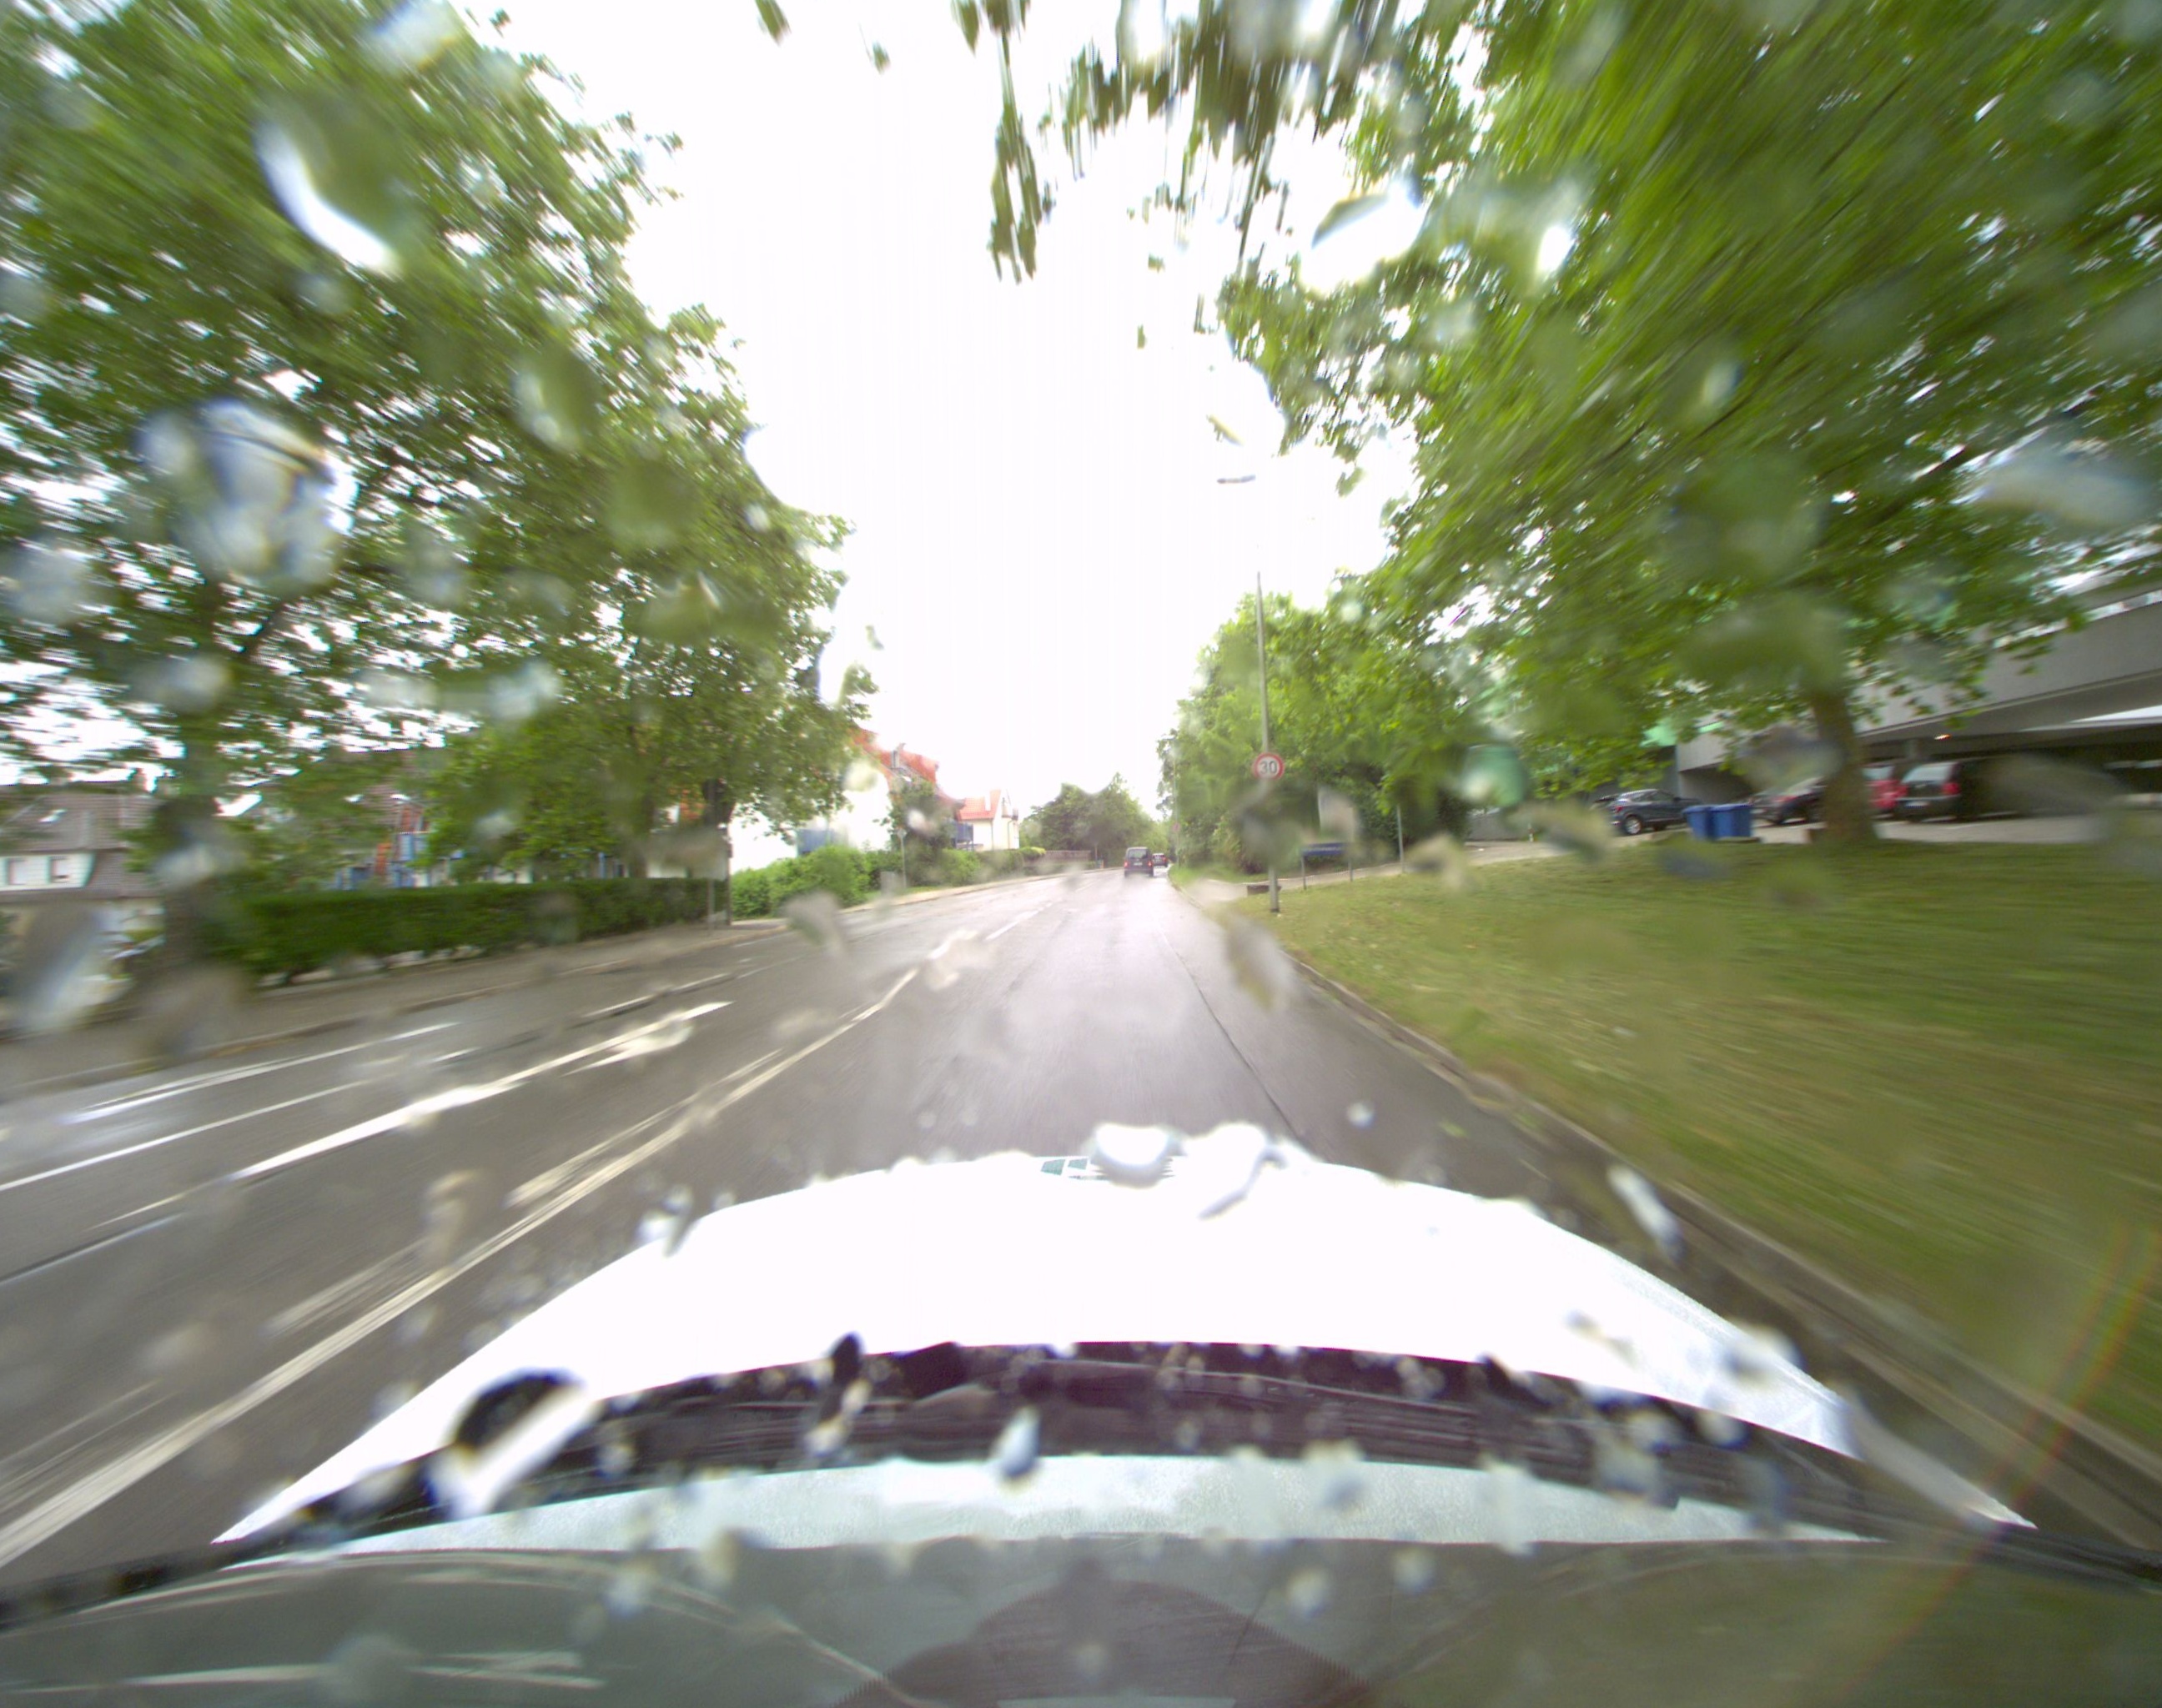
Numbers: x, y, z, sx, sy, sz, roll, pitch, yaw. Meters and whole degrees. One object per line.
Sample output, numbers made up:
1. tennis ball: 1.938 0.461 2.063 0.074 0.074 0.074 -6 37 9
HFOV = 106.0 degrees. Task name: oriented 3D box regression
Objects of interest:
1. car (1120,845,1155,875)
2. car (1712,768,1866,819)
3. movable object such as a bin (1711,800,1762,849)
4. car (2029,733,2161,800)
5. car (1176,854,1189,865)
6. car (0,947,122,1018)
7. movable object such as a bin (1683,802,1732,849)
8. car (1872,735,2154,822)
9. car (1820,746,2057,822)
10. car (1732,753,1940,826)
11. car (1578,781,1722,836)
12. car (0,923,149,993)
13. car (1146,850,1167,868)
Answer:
1. car: 3.475 0.363 50.765 1.986 1.794 4.002 0 0 2
2. car: 26.777 -2.270 30.932 3.963 1.574 1.940 -3 0 9
3. movable object such as a bin: 15.220 -0.679 18.923 0.666 1.120 0.662 0 -1 -2
4. car: 37.485 -3.195 29.298 3.965 2.013 2.005 -5 -1 8
5. car: 17.061 0.898 137.359 1.985 1.750 4.004 0 0 4
6. car: -29.718 3.644 22.305 1.986 1.585 4.003 -4 0 2
7. movable object such as a bin: 15.141 -0.674 19.701 0.666 1.120 0.662 0 -1 -2
8. car: 21.763 -1.721 19.215 3.962 1.640 2.006 -3 0 10
9. car: 22.526 -1.791 21.564 3.965 1.662 1.964 -3 0 7
10. car: 21.927 -1.834 23.834 3.962 1.750 2.006 -3 0 10
11. car: 21.007 -1.665 30.177 3.979 1.750 1.997 -3 0 -4
12. car: -34.205 3.512 27.276 3.970 1.863 1.739 -6 -1 3
13. car: 7.955 0.505 85.600 1.938 1.750 4.010 -3 0 9
